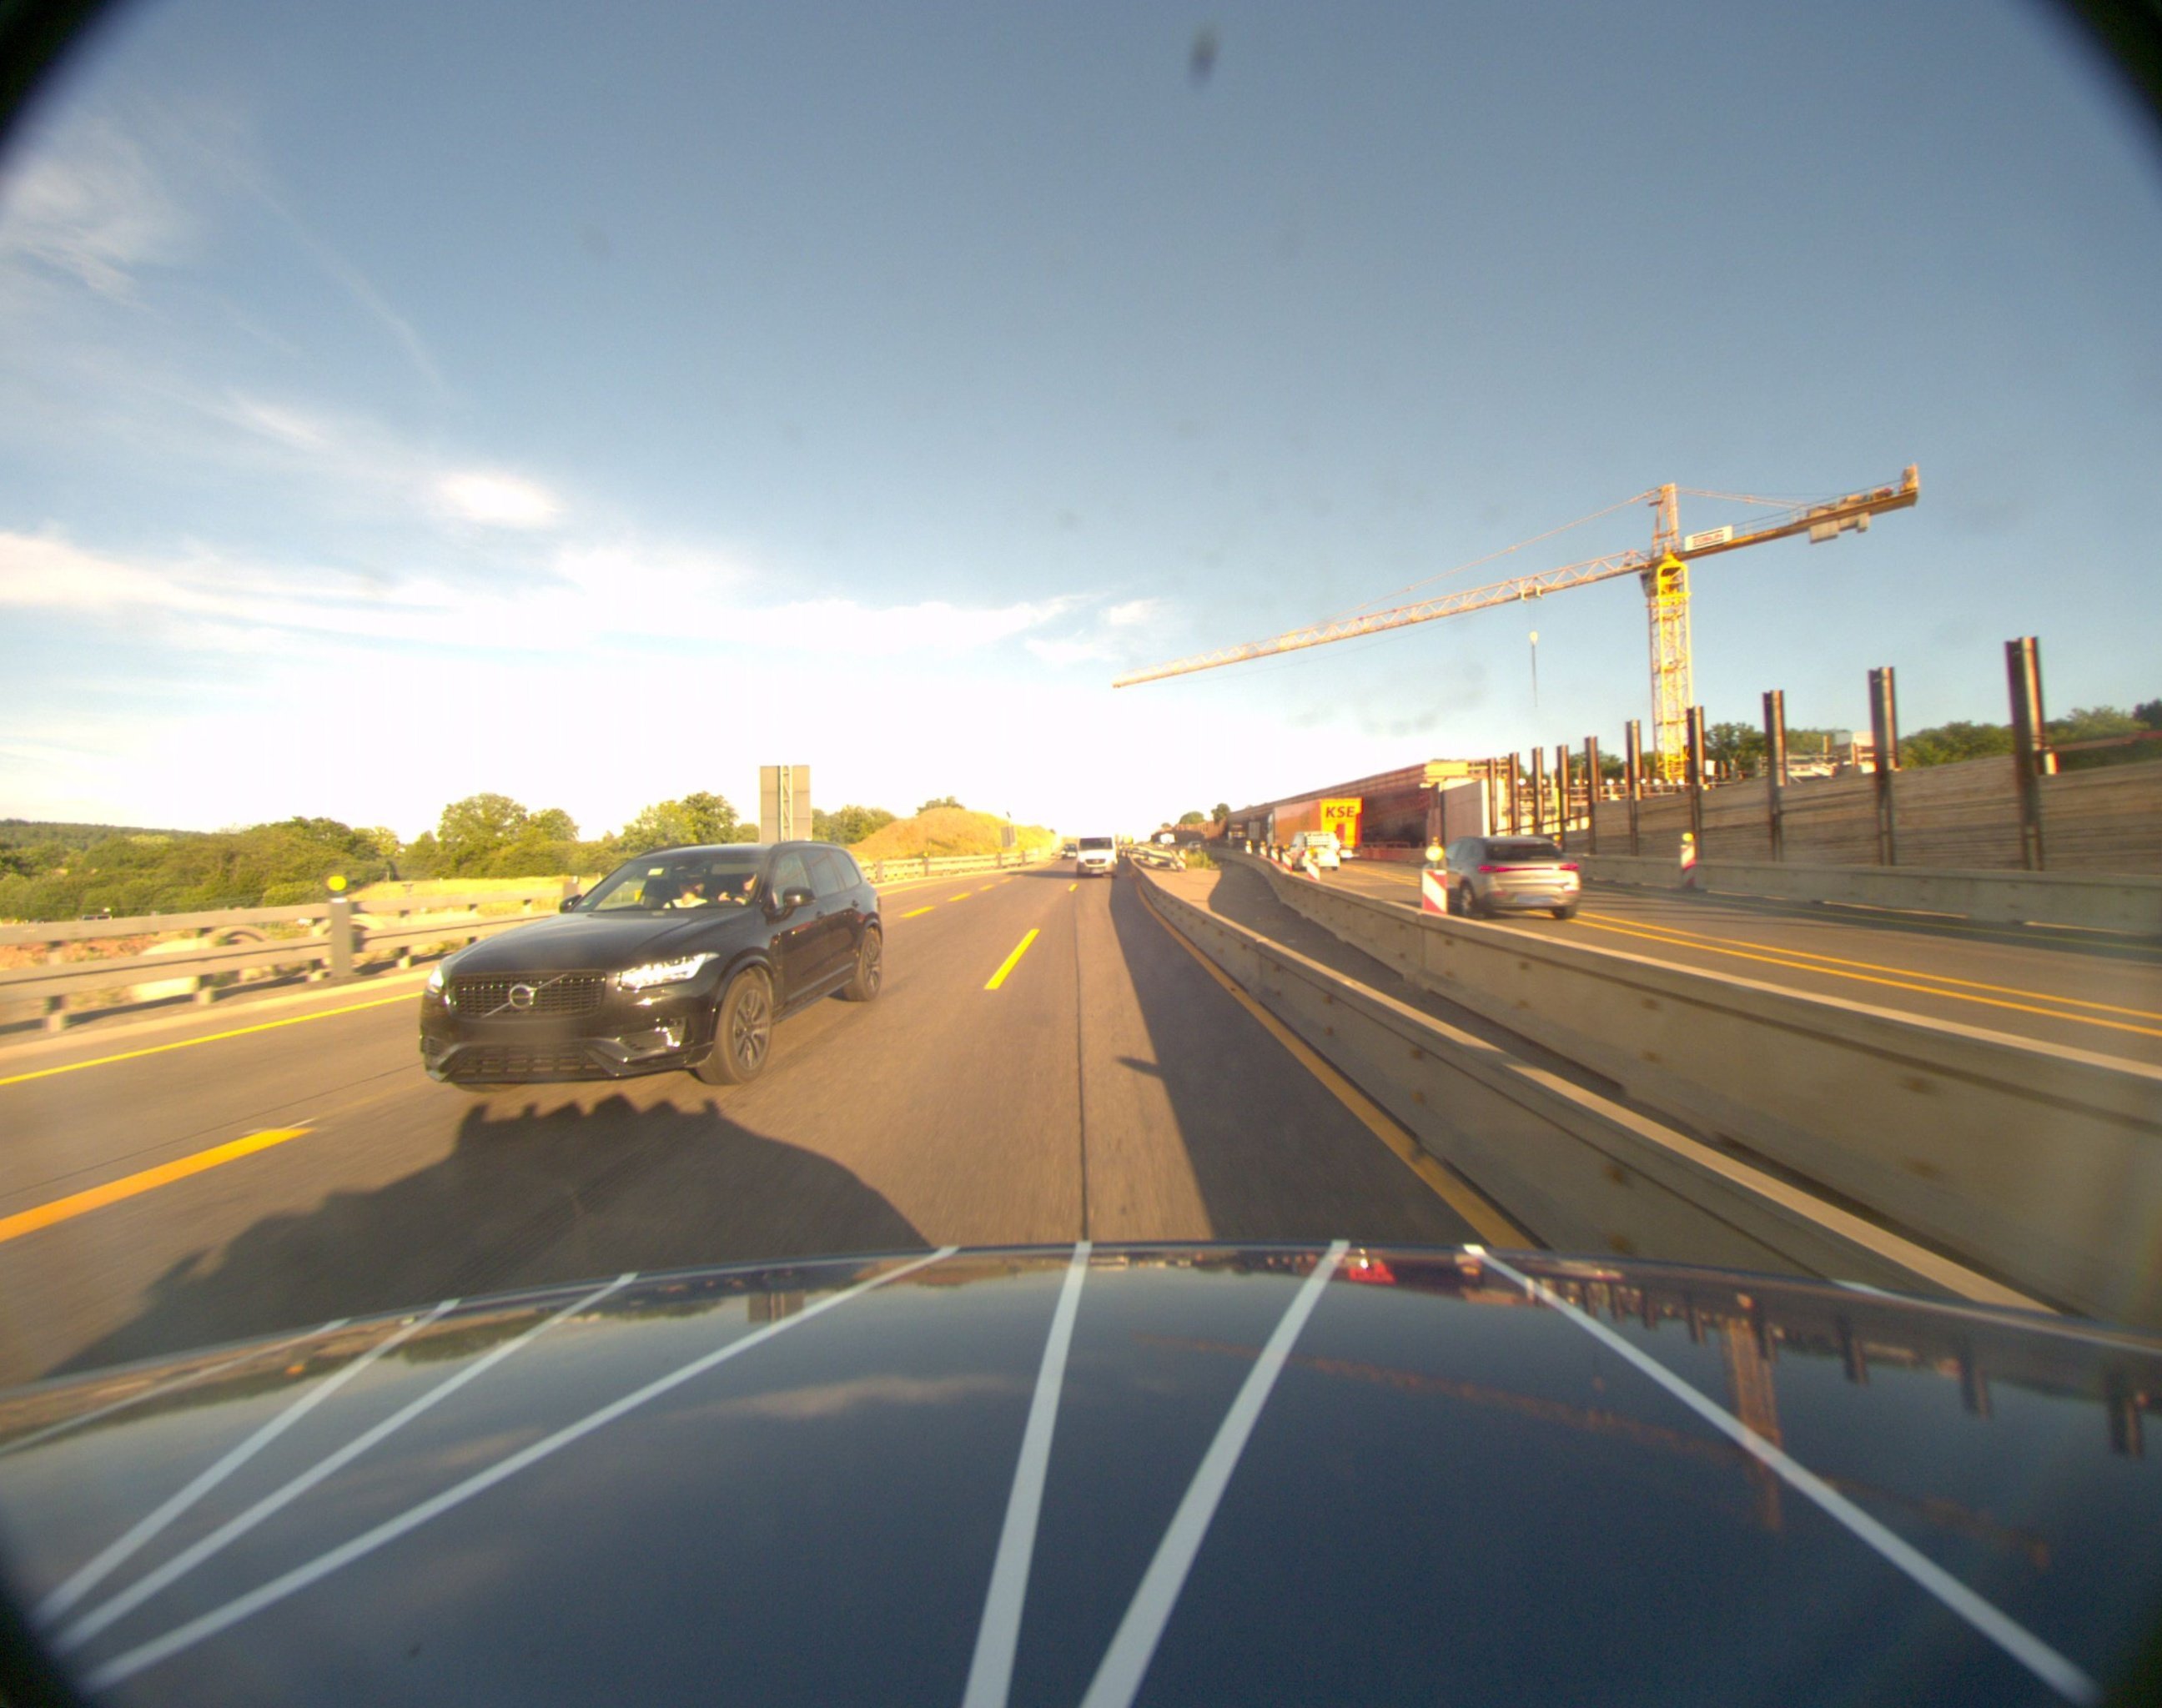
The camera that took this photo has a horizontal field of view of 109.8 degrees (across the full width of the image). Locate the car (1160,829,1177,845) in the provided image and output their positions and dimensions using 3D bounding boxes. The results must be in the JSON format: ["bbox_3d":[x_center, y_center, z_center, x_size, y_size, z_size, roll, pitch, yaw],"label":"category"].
[{"bbox_3d":[16.963,-3.269,148.073,2.334,2.950,6.160,-2,1,-2],"label":"car"}]

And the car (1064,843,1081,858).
[{"bbox_3d":[-0.898,-0.359,80.658,1.791,1.477,3.999,-2,1,0],"label":"car"}]

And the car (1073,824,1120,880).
[{"bbox_3d":[0.764,-0.140,37.641,2.110,2.518,5.218,-2,2,1],"label":"car"}]

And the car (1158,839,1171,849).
[{"bbox_3d":[14.363,-1.781,131.315,1.734,1.591,4.111,-2,1,0],"label":"car"}]

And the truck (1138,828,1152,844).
[{"bbox_3d":[16.295,-4.580,192.616,2.796,3.704,7.161,-2,1,0],"label":"truck"}]

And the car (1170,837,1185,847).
[{"bbox_3d":[14.466,-1.843,114.001,1.665,1.383,4.000,-6,1,2],"label":"car"}]

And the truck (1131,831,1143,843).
[{"bbox_3d":[16.122,-4.977,218.568,2.774,3.224,7.161,-2,1,0],"label":"truck"}]

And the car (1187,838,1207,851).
[{"bbox_3d":[14.399,-1.185,94.471,1.734,1.591,4.660,-2,1,0],"label":"car"}]

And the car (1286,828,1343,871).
[{"bbox_3d":[11.869,-0.269,38.899,1.997,2.002,5.259,-3,1,9],"label":"car"}]

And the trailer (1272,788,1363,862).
[{"bbox_3d":[16.377,-1.919,53.953,2.590,4.446,14.136,-3,1,3],"label":"trailer"}]

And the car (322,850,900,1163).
[{"bbox_3d":[-3.219,0.848,6.702,1.902,1.703,4.887,-2,0,1],"label":"car"}]

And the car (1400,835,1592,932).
[{"bbox_3d":[8.177,0.487,15.570,1.792,1.610,4.876,-3,1,8],"label":"car"}]

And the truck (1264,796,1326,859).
[{"bbox_3d":[16.552,-2.001,59.360,2.590,4.446,8.331,-3,1,2],"label":"truck"}]

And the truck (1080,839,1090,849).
[{"bbox_3d":[0.840,-2.120,162.600,1.999,2.109,7.560,-3,1,-1],"label":"truck"}]
